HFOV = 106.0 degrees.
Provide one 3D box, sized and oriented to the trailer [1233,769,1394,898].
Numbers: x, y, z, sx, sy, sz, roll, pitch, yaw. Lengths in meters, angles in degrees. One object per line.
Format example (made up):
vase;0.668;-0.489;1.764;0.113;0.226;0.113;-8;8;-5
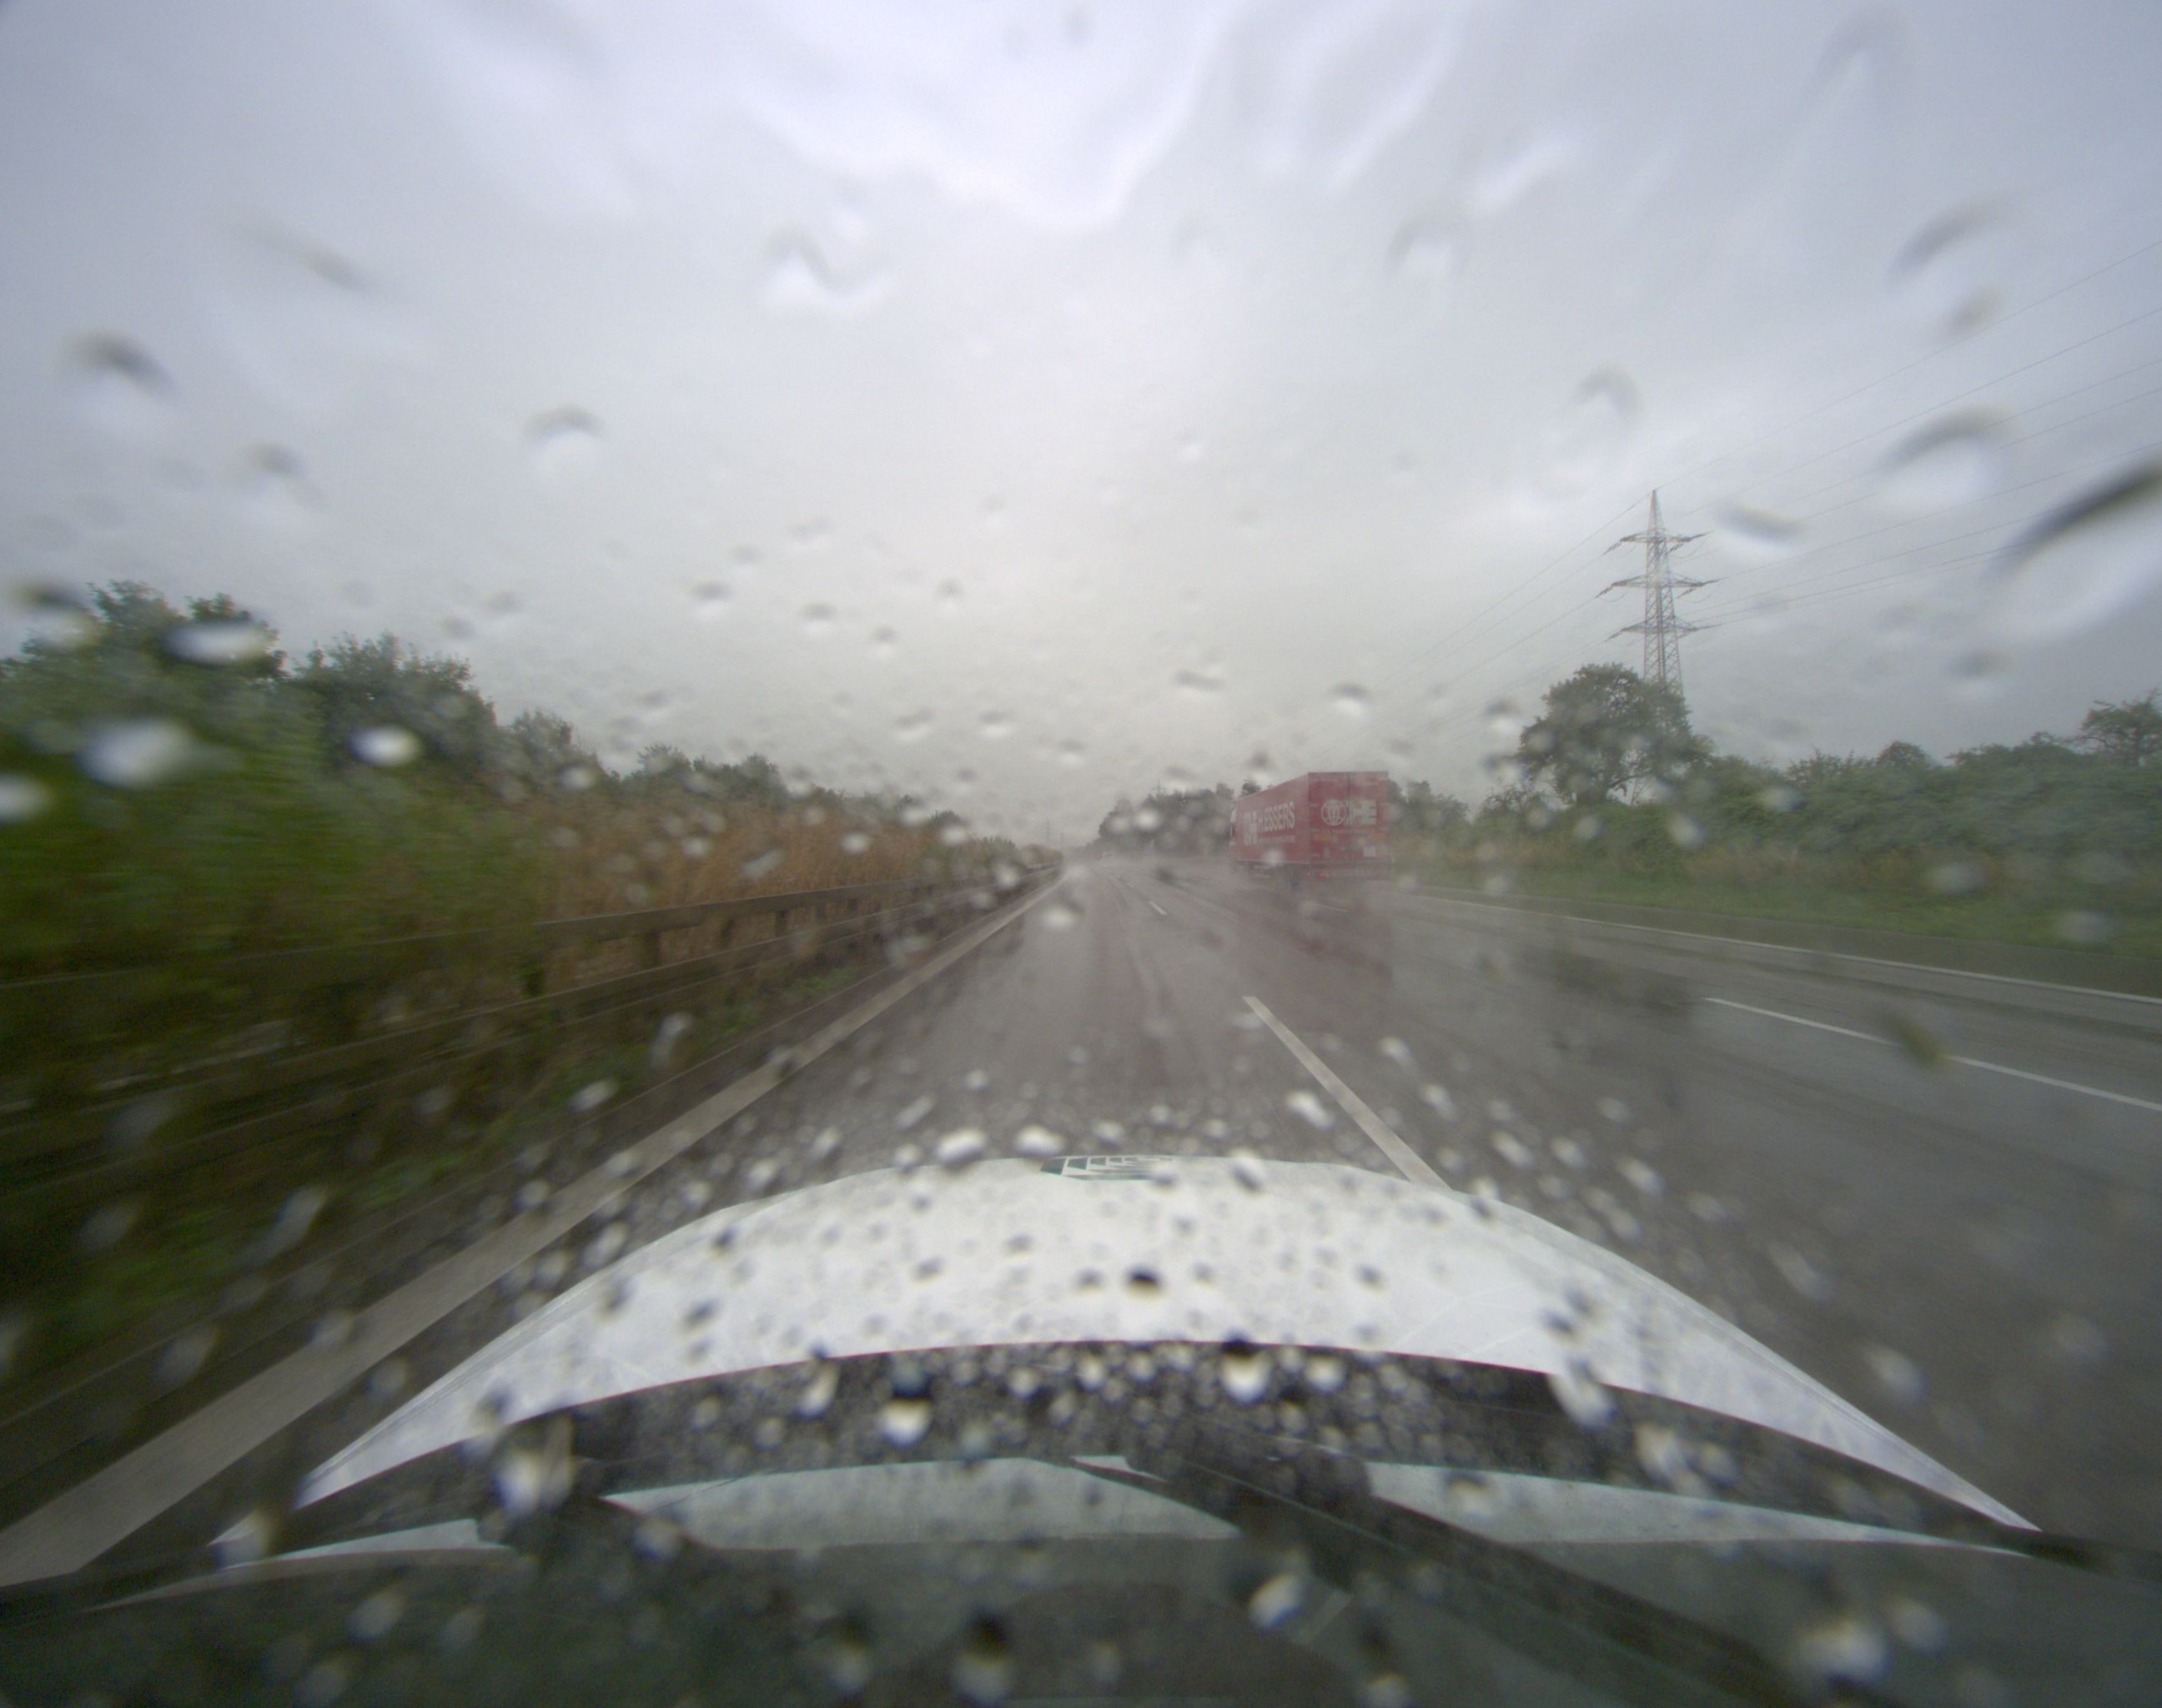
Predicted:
trailer;8.613;-0.641;32.541;2.611;3.955;13.631;-2;0;1

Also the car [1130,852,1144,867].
car;8.448;0.882;122.956;1.801;2.158;4.001;-2;0;1

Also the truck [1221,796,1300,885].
truck;8.724;-0.609;40.118;2.611;3.955;5.433;-2;0;1
